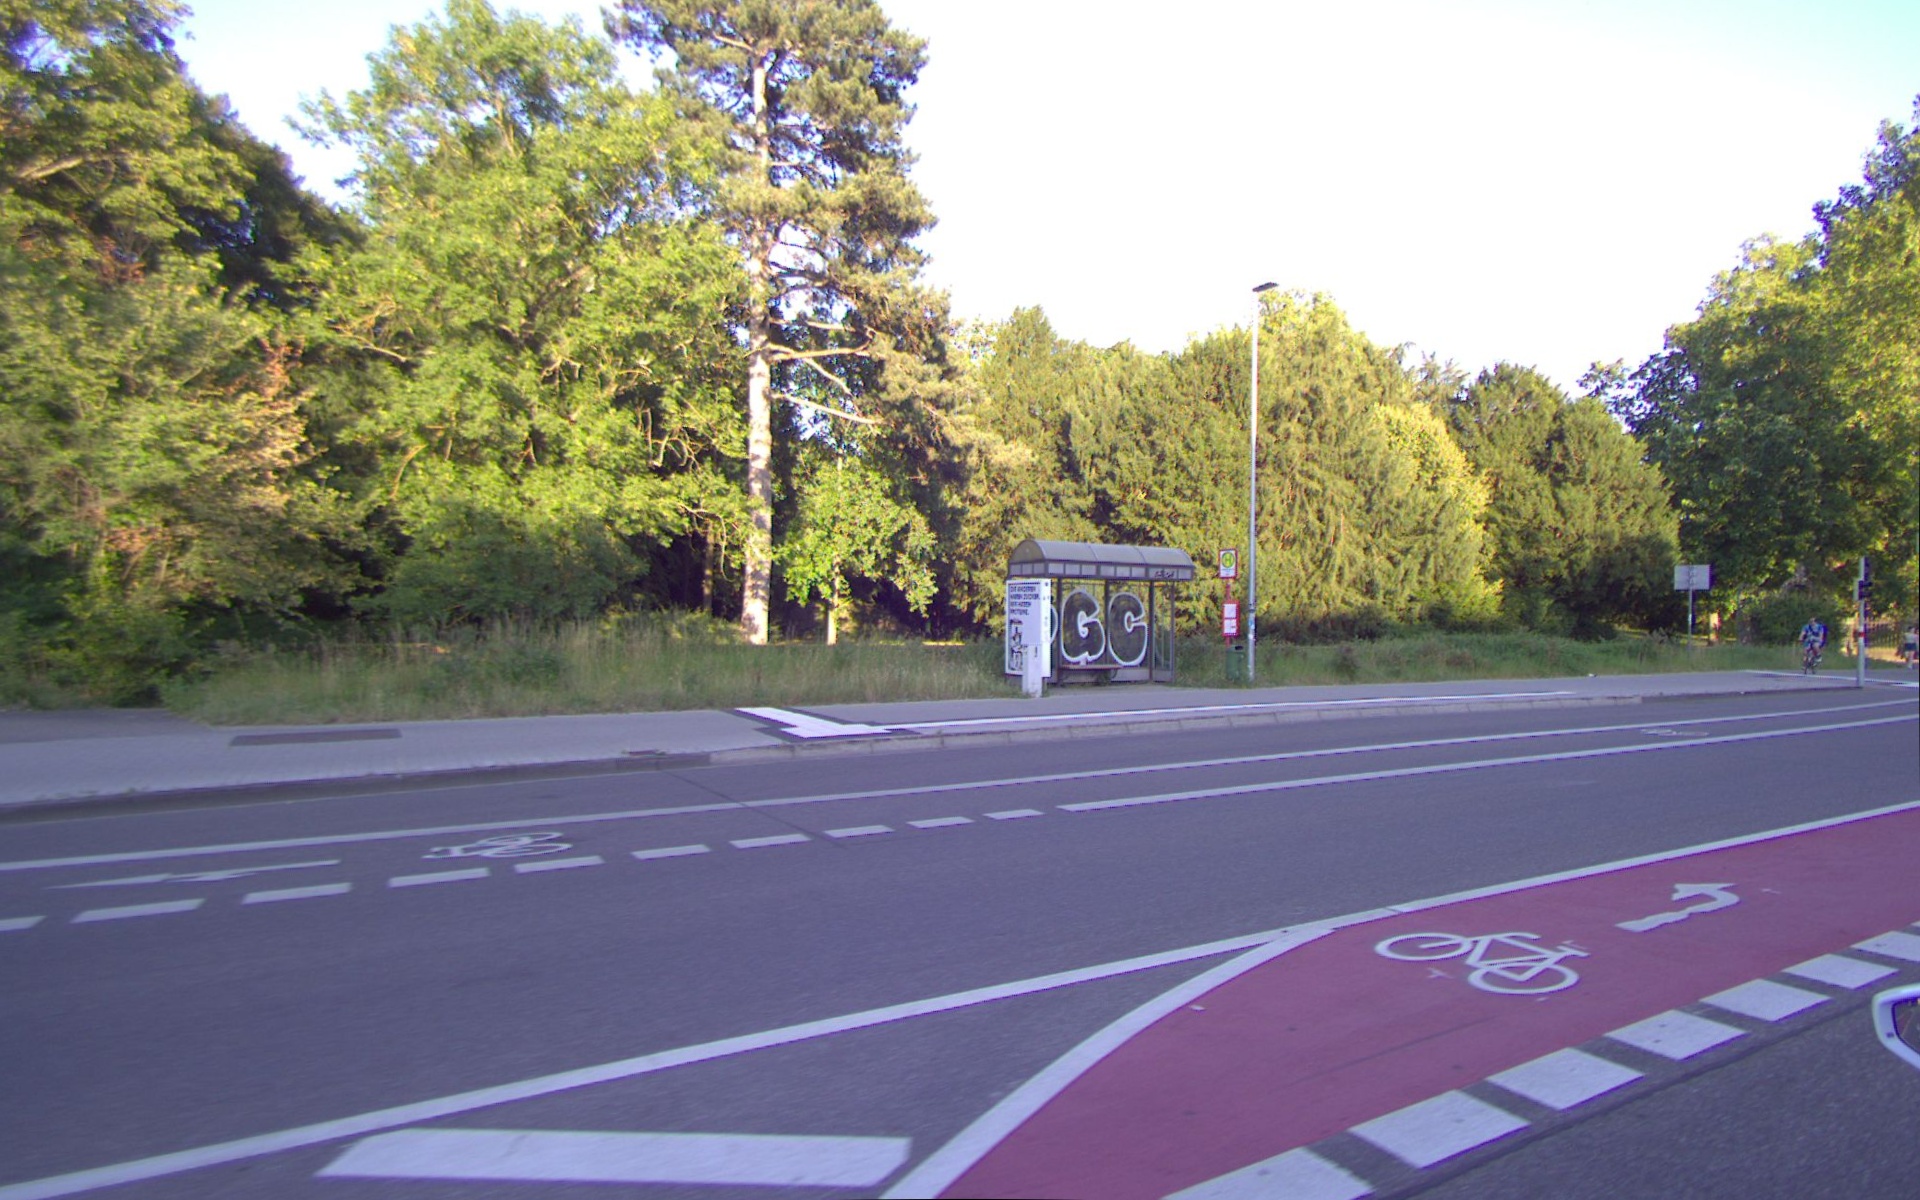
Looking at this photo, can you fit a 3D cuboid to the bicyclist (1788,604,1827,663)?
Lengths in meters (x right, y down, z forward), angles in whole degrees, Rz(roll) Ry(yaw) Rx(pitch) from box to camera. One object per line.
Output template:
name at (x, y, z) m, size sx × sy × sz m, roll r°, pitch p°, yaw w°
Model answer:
bicyclist at (27.320, 1.072, 32.377) m, size 0.704 × 1.848 × 0.730 m, roll 1°, pitch 2°, yaw -34°

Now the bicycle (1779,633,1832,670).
bicycle at (27.198, 1.640, 32.310) m, size 2.101 × 1.115 × 0.765 m, roll 1°, pitch -1°, yaw -35°

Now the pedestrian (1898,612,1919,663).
pedestrian at (38.765, 1.517, 40.901) m, size 0.638 × 2.040 × 0.606 m, roll 2°, pitch 1°, yaw 23°

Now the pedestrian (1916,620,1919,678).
pedestrian at (28.736, 1.451, 29.655) m, size 0.492 × 1.718 × 0.605 m, roll 1°, pitch 0°, yaw -27°
